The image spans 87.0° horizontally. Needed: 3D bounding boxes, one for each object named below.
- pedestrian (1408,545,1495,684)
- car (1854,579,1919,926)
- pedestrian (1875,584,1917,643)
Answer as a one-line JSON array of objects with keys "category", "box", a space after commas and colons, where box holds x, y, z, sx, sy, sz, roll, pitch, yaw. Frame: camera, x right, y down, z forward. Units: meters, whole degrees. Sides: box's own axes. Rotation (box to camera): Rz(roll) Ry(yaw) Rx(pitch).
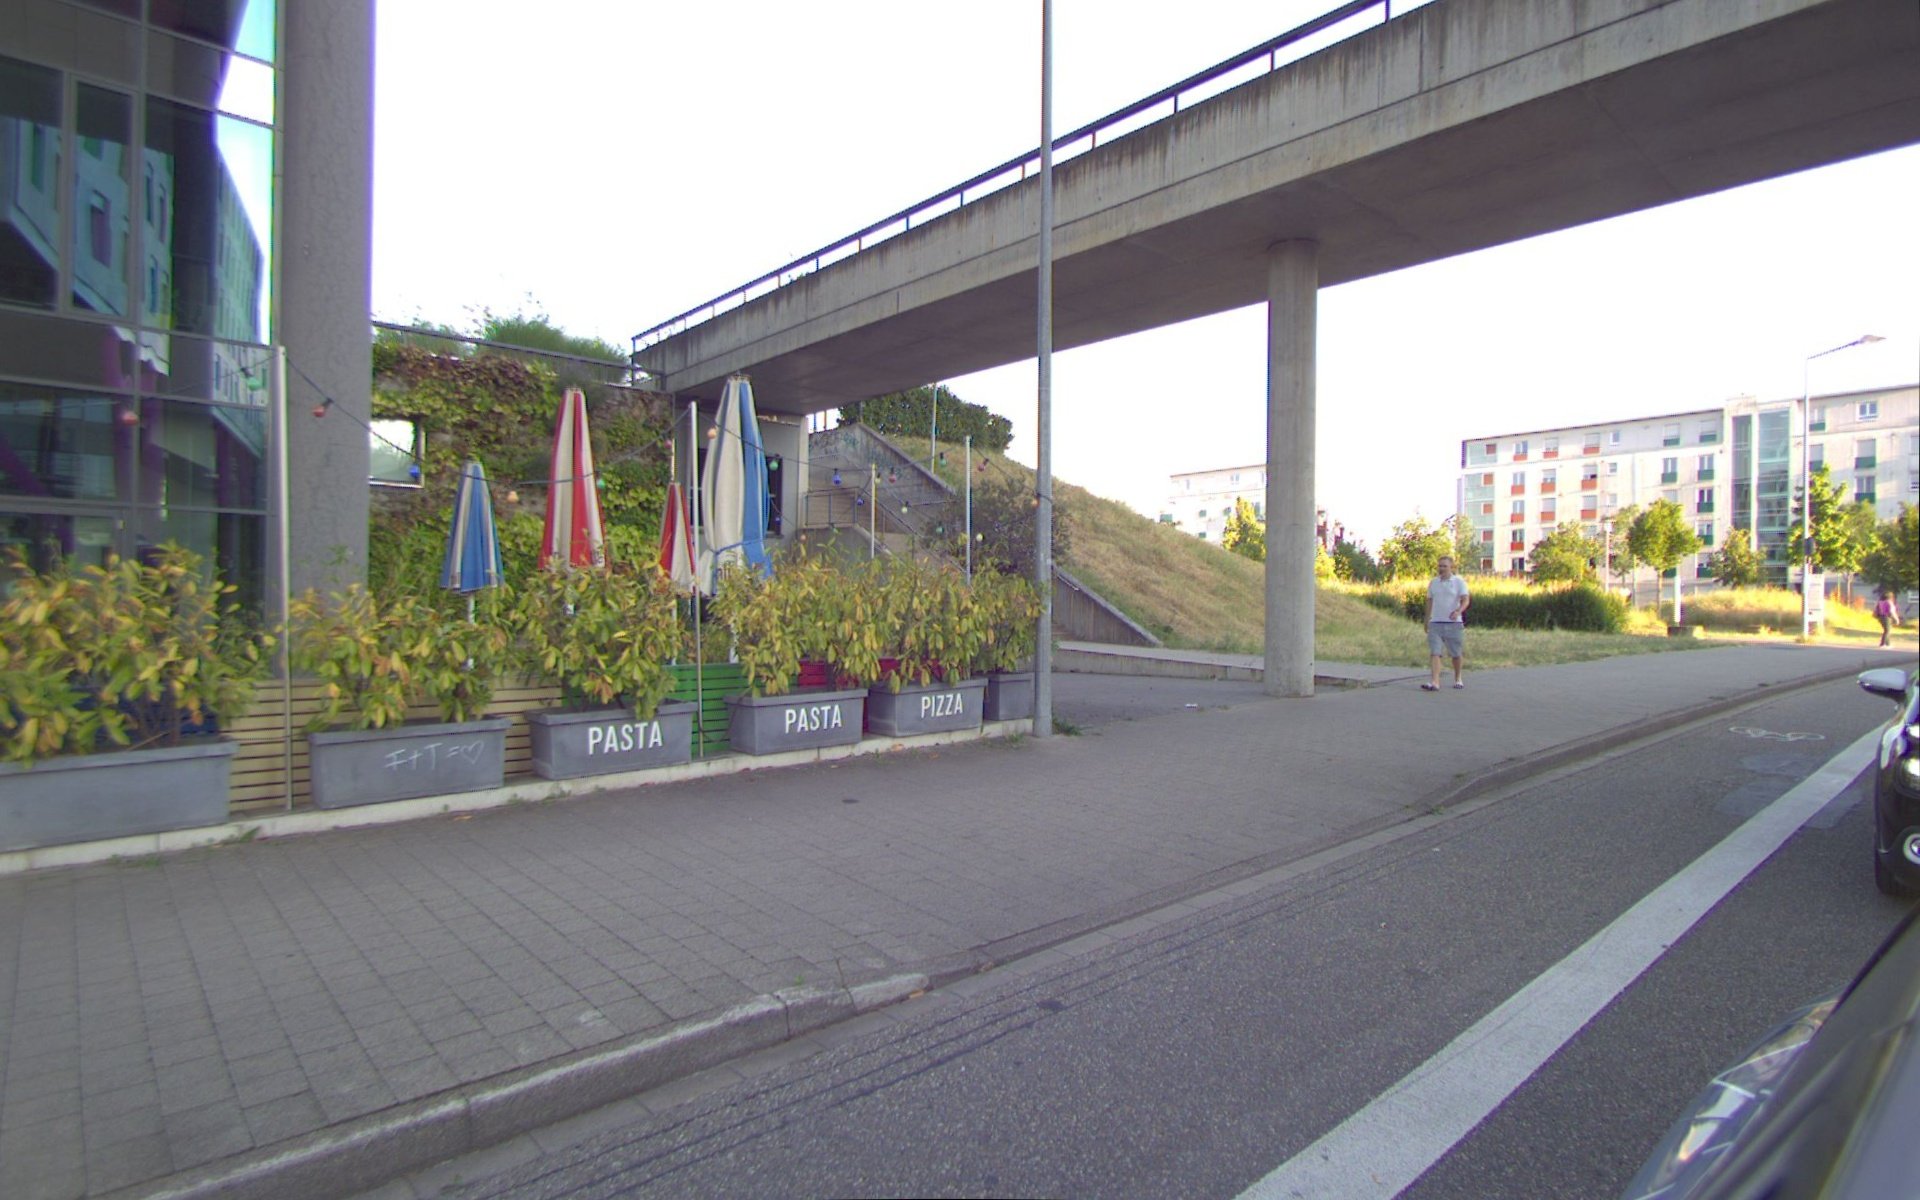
[{"category": "pedestrian", "box": [6.479, 0.179, 13.344, 0.890, 1.746, 0.737, 1, 0, -40]}, {"category": "car", "box": [6.019, 0.665, 5.120, 3.930, 1.482, 1.738, 0, 0, -41]}, {"category": "pedestrian", "box": [27.262, 0.381, 29.465, 0.844, 1.650, 0.737, 1, 2, -40]}]
